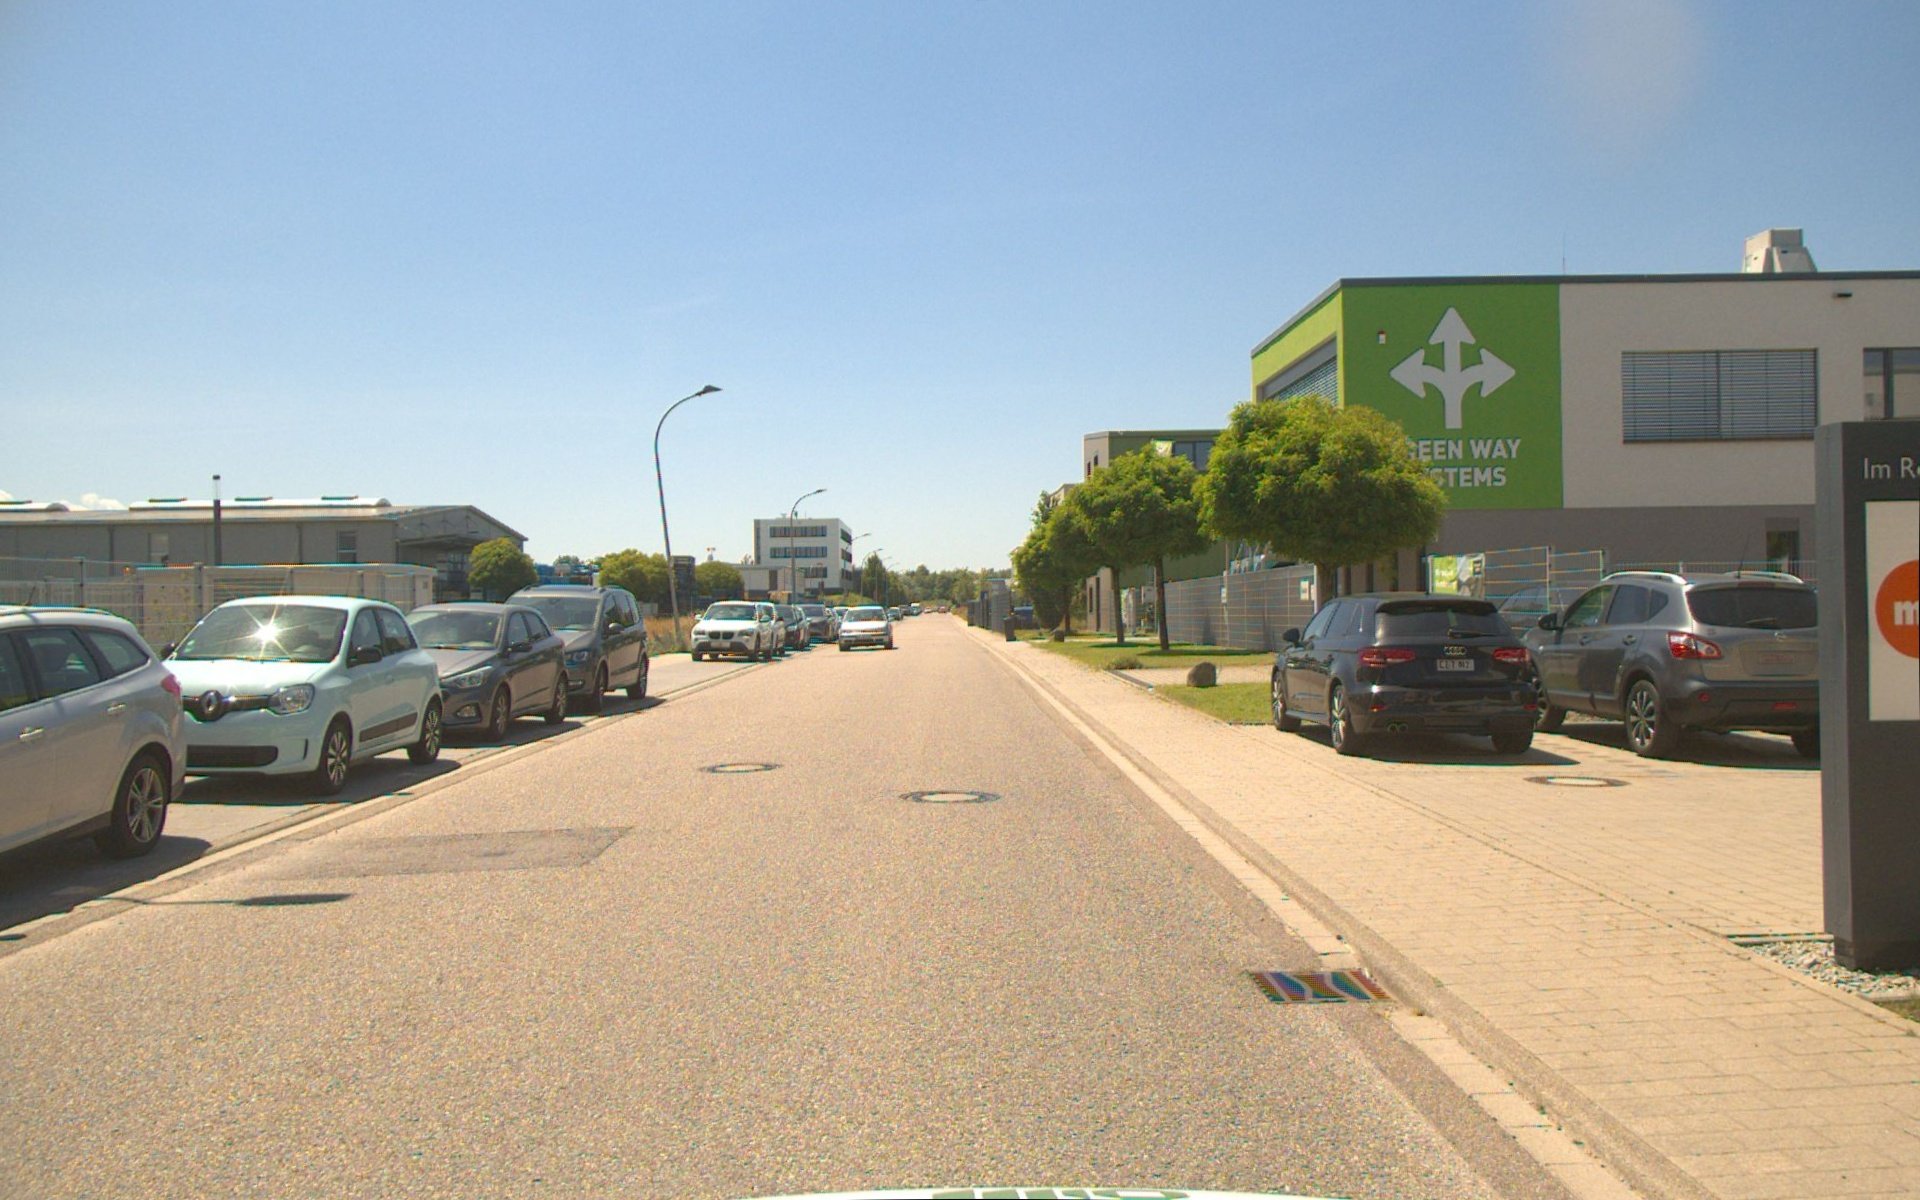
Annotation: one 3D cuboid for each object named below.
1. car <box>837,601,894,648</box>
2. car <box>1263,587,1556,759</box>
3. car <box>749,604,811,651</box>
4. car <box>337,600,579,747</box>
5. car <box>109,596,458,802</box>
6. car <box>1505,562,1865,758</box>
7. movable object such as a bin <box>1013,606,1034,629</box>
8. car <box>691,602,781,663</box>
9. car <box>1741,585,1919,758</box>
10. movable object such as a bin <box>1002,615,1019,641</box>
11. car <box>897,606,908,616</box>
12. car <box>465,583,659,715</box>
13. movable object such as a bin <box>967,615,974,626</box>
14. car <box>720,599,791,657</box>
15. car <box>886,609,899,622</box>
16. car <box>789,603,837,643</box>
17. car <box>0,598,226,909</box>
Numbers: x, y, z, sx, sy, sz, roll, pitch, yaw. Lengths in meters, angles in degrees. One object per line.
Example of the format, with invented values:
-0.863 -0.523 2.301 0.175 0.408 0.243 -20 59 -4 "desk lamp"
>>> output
-3.180 0.810 56.224 1.669 1.436 4.783 -3 0 -1 "car"
4.194 0.617 16.123 1.658 1.453 4.245 0 0 -1 "car"
-6.137 0.919 56.675 1.727 1.544 4.378 0 0 -1 "car"
-5.716 0.773 19.327 1.601 1.526 3.971 0 0 0 "car"
-5.696 0.753 14.406 1.601 1.563 3.656 0 0 -2 "car"
6.825 0.508 16.068 1.688 1.661 4.021 0 0 -1 "car"
4.294 1.193 111.985 1.307 1.485 0.948 -2 -1 -1 "movable object such as a bin"
-5.955 0.841 44.469 1.750 1.569 4.365 0 0 1 "car"
9.040 0.610 15.294 1.688 1.475 4.021 0 0 -1 "car"
1.983 1.106 65.321 0.540 0.944 0.522 -5 -1 9 "movable object such as a bin"
-8.863 1.665 256.504 1.611 1.516 3.207 -1 0 0 "car"
-5.696 0.652 24.266 1.766 1.750 4.621 0 0 -1 "car"
1.011 1.938 153.701 0.541 0.944 0.522 -5 1 3 "movable object such as a bin"
-6.125 0.823 49.886 1.751 1.685 3.767 0 0 -2 "car"
-8.239 1.891 201.530 1.437 1.516 3.207 -1 0 0 "car"
-6.251 0.978 70.543 1.754 1.635 4.461 0 -1 -2 "car"
-5.676 0.772 8.717 1.668 1.563 4.570 0 0 -2 "car"
